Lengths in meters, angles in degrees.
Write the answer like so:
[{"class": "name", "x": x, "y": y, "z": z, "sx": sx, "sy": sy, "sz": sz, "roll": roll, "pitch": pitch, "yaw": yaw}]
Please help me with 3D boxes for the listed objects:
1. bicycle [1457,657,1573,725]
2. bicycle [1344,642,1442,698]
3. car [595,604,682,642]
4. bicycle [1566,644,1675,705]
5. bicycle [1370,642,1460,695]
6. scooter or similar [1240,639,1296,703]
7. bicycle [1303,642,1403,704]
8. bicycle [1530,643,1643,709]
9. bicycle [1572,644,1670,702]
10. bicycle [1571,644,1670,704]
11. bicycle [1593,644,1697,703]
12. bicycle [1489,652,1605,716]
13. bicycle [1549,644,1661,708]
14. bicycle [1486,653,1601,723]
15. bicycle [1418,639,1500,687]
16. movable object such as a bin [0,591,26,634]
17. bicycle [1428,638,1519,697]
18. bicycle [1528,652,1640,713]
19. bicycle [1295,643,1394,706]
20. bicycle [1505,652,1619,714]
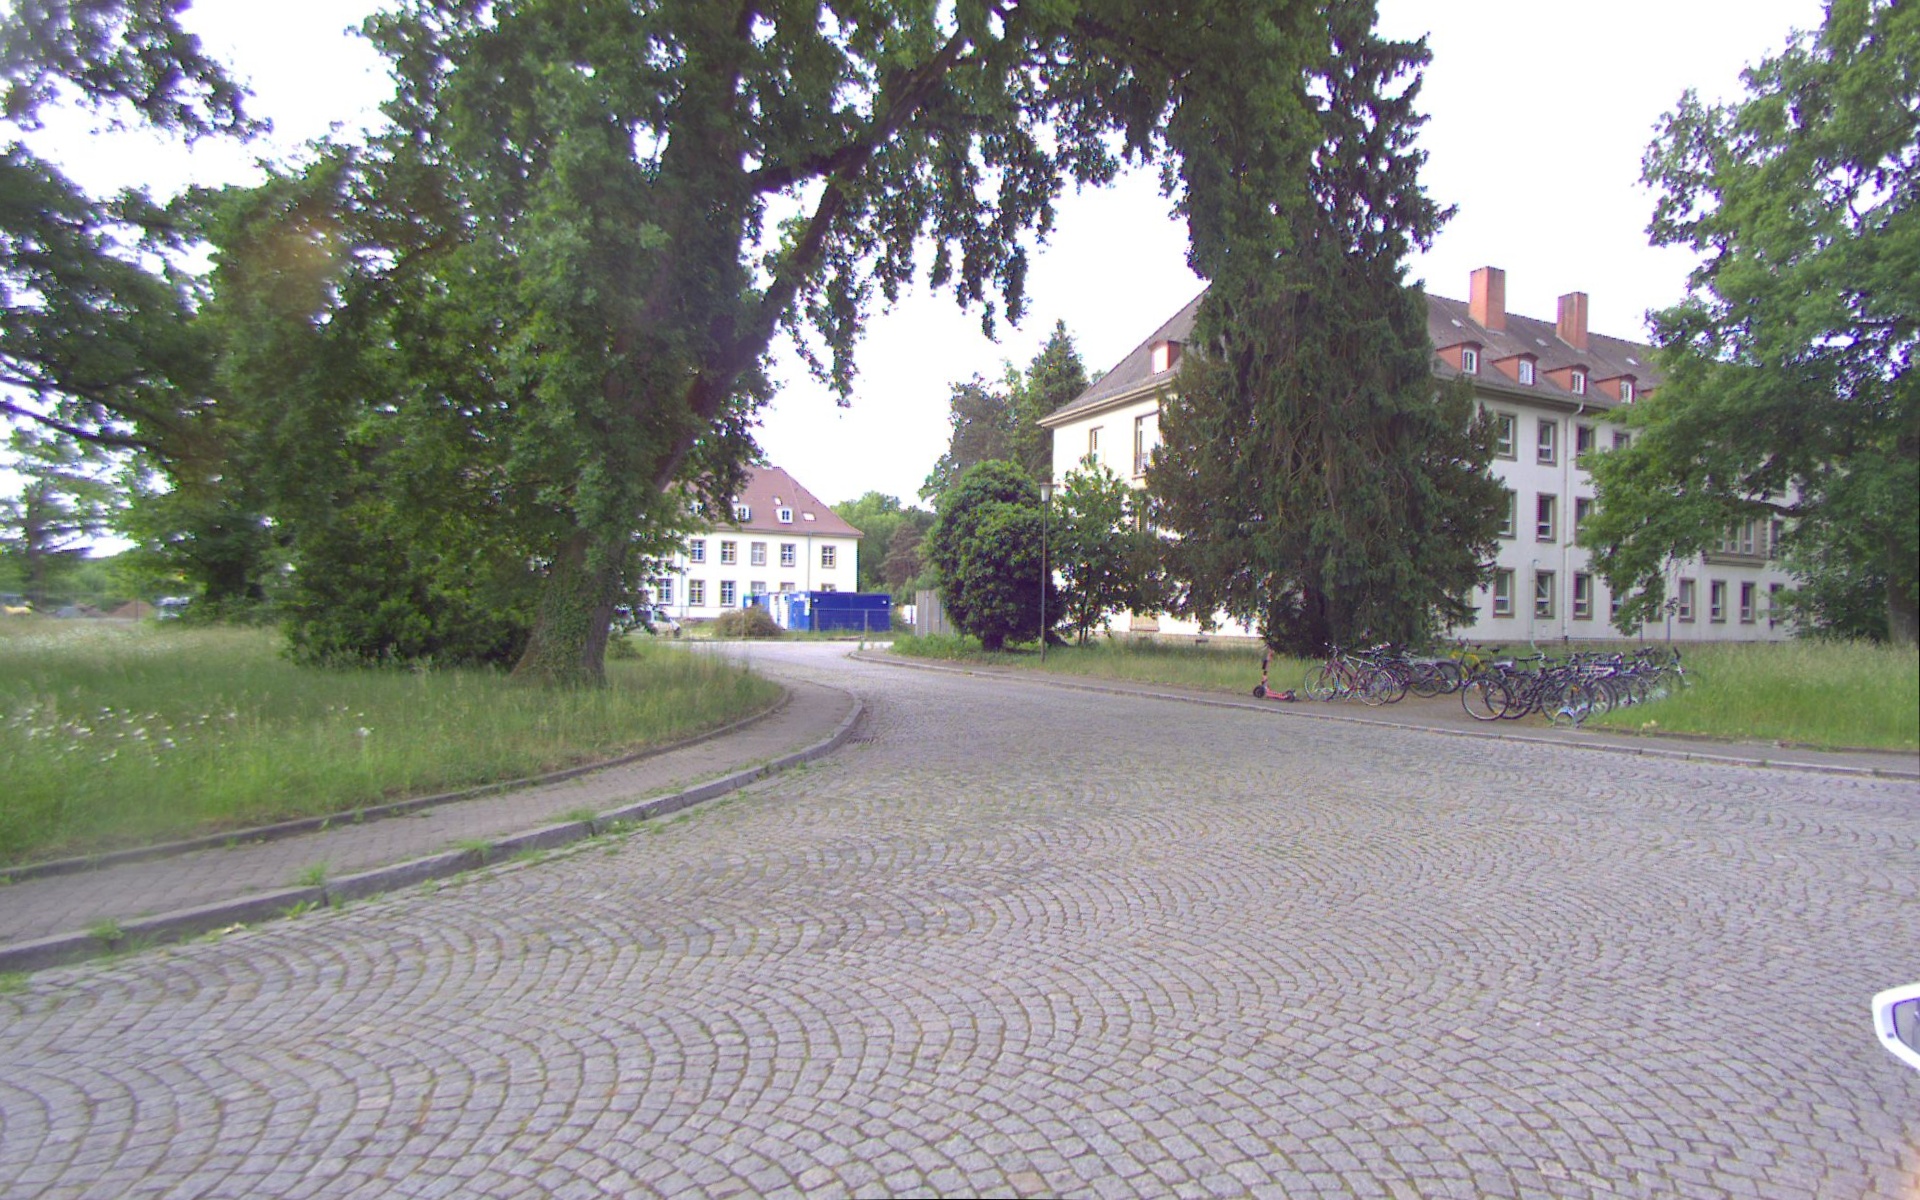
[{"class": "bicycle", "x": 8.899, "y": 1.436, "z": 16.137, "sx": 1.595, "sy": 1.021, "sz": 0.476, "roll": -1, "pitch": -2, "yaw": 33}, {"class": "bicycle", "x": 9.128, "y": 1.460, "z": 21.198, "sx": 1.797, "sy": 1.079, "sz": 0.616, "roll": 0, "pitch": -1, "yaw": 38}, {"class": "car", "x": -21.028, "y": 1.535, "z": 65.698, "sx": 5.209, "sy": 2.375, "sz": 1.898, "roll": 1, "pitch": -1, "yaw": -26}, {"class": "bicycle", "x": 13.151, "y": 1.460, "z": 20.033, "sx": 0.474, "sy": 1.126, "sz": 1.743, "roll": 2, "pitch": -1, "yaw": -42}, {"class": "bicycle", "x": 10.056, "y": 1.500, "z": 22.211, "sx": 1.727, "sy": 1.079, "sz": 0.549, "roll": 0, "pitch": -1, "yaw": 38}, {"class": "scooter or similar", "x": 6.260, "y": 1.426, "z": 20.443, "sx": 0.353, "sy": 1.226, "sz": 1.128, "roll": 2, "pitch": -1, "yaw": -30}, {"class": "bicycle", "x": 7.843, "y": 1.431, "z": 20.105, "sx": 0.548, "sy": 1.129, "sz": 1.781, "roll": 2, "pitch": -1, "yaw": -44}, {"class": "bicycle", "x": 11.757, "y": 1.404, "z": 18.893, "sx": 0.474, "sy": 1.126, "sz": 1.743, "roll": 2, "pitch": -1, "yaw": -42}, {"class": "bicycle", "x": 13.714, "y": 1.494, "z": 20.877, "sx": 0.438, "sy": 1.126, "sz": 1.635, "roll": 2, "pitch": -1, "yaw": -36}, {"class": "bicycle", "x": 13.399, "y": 1.479, "z": 20.418, "sx": 0.438, "sy": 1.126, "sz": 1.635, "roll": 2, "pitch": -1, "yaw": -36}, {"class": "bicycle", "x": 14.306, "y": 1.507, "z": 21.016, "sx": 0.474, "sy": 1.126, "sz": 1.743, "roll": 2, "pitch": -1, "yaw": -42}, {"class": "bicycle", "x": 10.075, "y": 1.421, "z": 17.290, "sx": 0.474, "sy": 1.021, "sz": 1.647, "roll": 2, "pitch": -3, "yaw": -42}, {"class": "bicycle", "x": 12.246, "y": 1.422, "z": 19.095, "sx": 1.740, "sy": 1.126, "sz": 0.475, "roll": 0, "pitch": -1, "yaw": 42}, {"class": "bicycle", "x": 9.534, "y": 1.414, "z": 16.433, "sx": 1.595, "sy": 1.088, "sz": 0.476, "roll": -1, "pitch": -2, "yaw": 33}, {"class": "bicycle", "x": 11.936, "y": 1.485, "z": 24.066, "sx": 0.547, "sy": 1.055, "sz": 1.663, "roll": 2, "pitch": -1, "yaw": -40}, {"class": "movable object such as a bin", "x": -60.424, "y": 0.725, "z": 61.845, "sx": 5.241, "sy": 2.590, "sz": 2.000, "roll": 0, "pitch": -1, "yaw": 19}, {"class": "bicycle", "x": 11.285, "y": 1.464, "z": 22.139, "sx": 0.546, "sy": 1.186, "sz": 1.737, "roll": 2, "pitch": -1, "yaw": -34}, {"class": "bicycle", "x": 11.208, "y": 1.464, "z": 18.085, "sx": 0.474, "sy": 1.021, "sz": 1.647, "roll": 2, "pitch": -3, "yaw": -42}, {"class": "bicycle", "x": 7.535, "y": 1.444, "z": 19.719, "sx": 0.548, "sy": 1.129, "sz": 1.746, "roll": 2, "pitch": -1, "yaw": -44}, {"class": "bicycle", "x": 10.565, "y": 1.440, "z": 17.663, "sx": 0.474, "sy": 1.021, "sz": 1.647, "roll": 2, "pitch": -3, "yaw": -42}]
